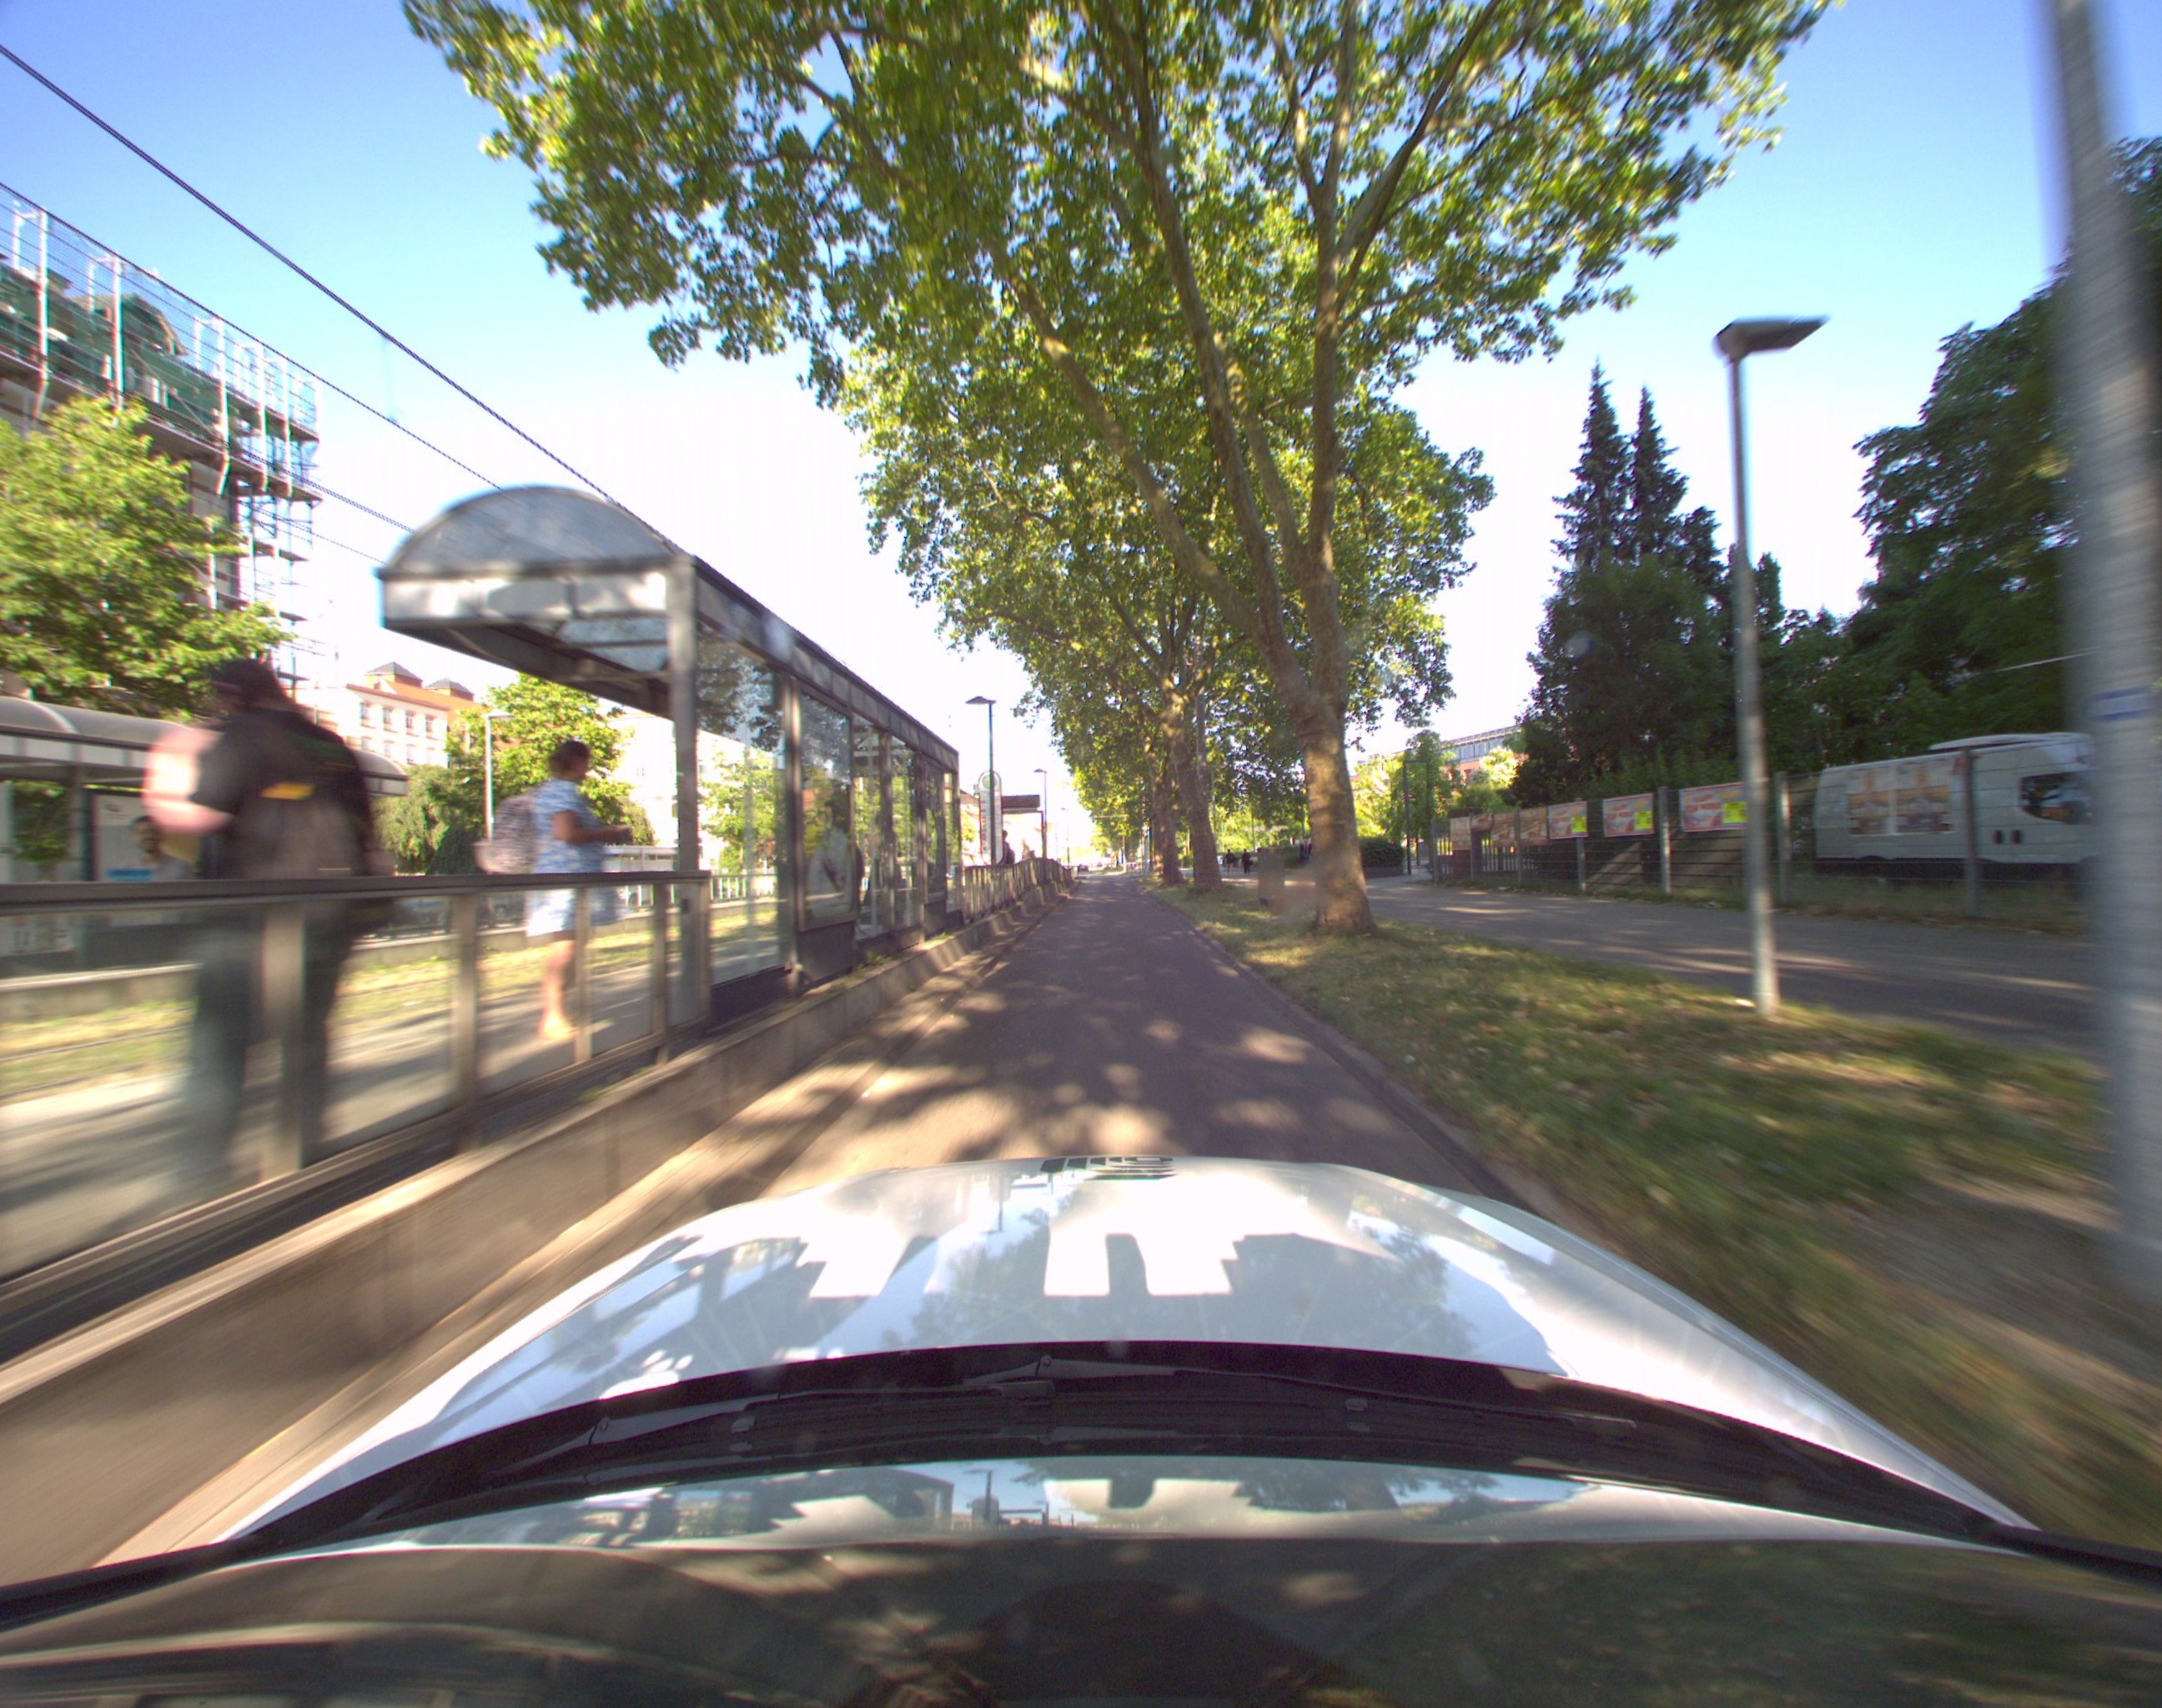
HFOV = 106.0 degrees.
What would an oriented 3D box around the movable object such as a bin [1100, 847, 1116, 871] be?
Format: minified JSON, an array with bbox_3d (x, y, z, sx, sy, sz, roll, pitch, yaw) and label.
[{"bbox_3d":[6.149,1.112,186.881,3.076,5.088,8.893,-5,-1,1],"label":"movable object such as a bin"}]

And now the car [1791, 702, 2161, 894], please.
[{"bbox_3d":[15.254,-0.690,13.357,1.985,2.499,6.352,0,-1,4],"label":"car"}]

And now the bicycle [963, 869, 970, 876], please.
[{"bbox_3d":[-18.372,2.961,130.956,0.772,1.193,1.756,0,-1,1],"label":"bicycle"}]

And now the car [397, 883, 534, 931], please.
[{"bbox_3d":[-22.703,1.912,30.263,1.713,1.586,4.071,0,-1,6],"label":"car"}]

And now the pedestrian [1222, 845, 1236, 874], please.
[{"bbox_3d":[8.875,0.337,48.829,0.625,1.656,0.740,-3,-1,1],"label":"pedestrian"}]

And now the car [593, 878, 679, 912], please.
[{"bbox_3d":[-22.045,1.994,40.558,1.713,1.586,4.071,0,-1,6],"label":"car"}]

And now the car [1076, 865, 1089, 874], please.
[{"bbox_3d":[0.273,2.648,139.574,1.986,1.684,4.001,0,-1,2],"label":"car"}]

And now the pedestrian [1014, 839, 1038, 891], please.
[{"bbox_3d":[-1.811,0.372,26.896,0.754,1.690,0.678,0,-1,1],"label":"pedestrian"}]

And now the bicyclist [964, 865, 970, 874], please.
[{"bbox_3d":[-18.368,2.485,130.914,0.772,1.481,1.134,0,-1,1],"label":"bicyclist"}]

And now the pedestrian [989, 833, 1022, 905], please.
[{"bbox_3d":[-1.799,0.364,19.595,0.676,1.690,0.895,0,-1,2],"label":"pedestrian"}]

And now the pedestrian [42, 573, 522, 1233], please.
[{"bbox_3d":[-2.370,0.129,2.525,0.762,1.759,0.695,0,-1,1],"label":"pedestrian"}]

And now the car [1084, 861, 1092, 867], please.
[{"bbox_3d":[2.265,3.318,261.968,1.990,1.860,3.993,0,-1,-5],"label":"car"}]

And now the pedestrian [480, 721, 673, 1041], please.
[{"bbox_3d":[-2.997,0.149,4.888,0.914,1.722,0.625,1,-1,-32],"label":"pedestrian"}]

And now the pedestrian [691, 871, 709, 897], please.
[{"bbox_3d":[-24.738,1.921,52.910,0.723,1.647,0.811,-3,-1,-5],"label":"pedestrian"}]

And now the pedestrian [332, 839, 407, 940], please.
[{"bbox_3d":[-12.199,0.599,13.984,0.677,1.690,0.654,0,-1,-1],"label":"pedestrian"}]

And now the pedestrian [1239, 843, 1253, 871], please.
[{"bbox_3d":[9.879,0.191,48.801,0.647,1.656,0.783,-3,-1,1],"label":"pedestrian"}]

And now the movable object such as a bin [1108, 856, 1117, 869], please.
[{"bbox_3d":[7.959,2.210,209.009,1.961,3.013,4.797,-5,-1,1],"label":"movable object such as a bin"}]
